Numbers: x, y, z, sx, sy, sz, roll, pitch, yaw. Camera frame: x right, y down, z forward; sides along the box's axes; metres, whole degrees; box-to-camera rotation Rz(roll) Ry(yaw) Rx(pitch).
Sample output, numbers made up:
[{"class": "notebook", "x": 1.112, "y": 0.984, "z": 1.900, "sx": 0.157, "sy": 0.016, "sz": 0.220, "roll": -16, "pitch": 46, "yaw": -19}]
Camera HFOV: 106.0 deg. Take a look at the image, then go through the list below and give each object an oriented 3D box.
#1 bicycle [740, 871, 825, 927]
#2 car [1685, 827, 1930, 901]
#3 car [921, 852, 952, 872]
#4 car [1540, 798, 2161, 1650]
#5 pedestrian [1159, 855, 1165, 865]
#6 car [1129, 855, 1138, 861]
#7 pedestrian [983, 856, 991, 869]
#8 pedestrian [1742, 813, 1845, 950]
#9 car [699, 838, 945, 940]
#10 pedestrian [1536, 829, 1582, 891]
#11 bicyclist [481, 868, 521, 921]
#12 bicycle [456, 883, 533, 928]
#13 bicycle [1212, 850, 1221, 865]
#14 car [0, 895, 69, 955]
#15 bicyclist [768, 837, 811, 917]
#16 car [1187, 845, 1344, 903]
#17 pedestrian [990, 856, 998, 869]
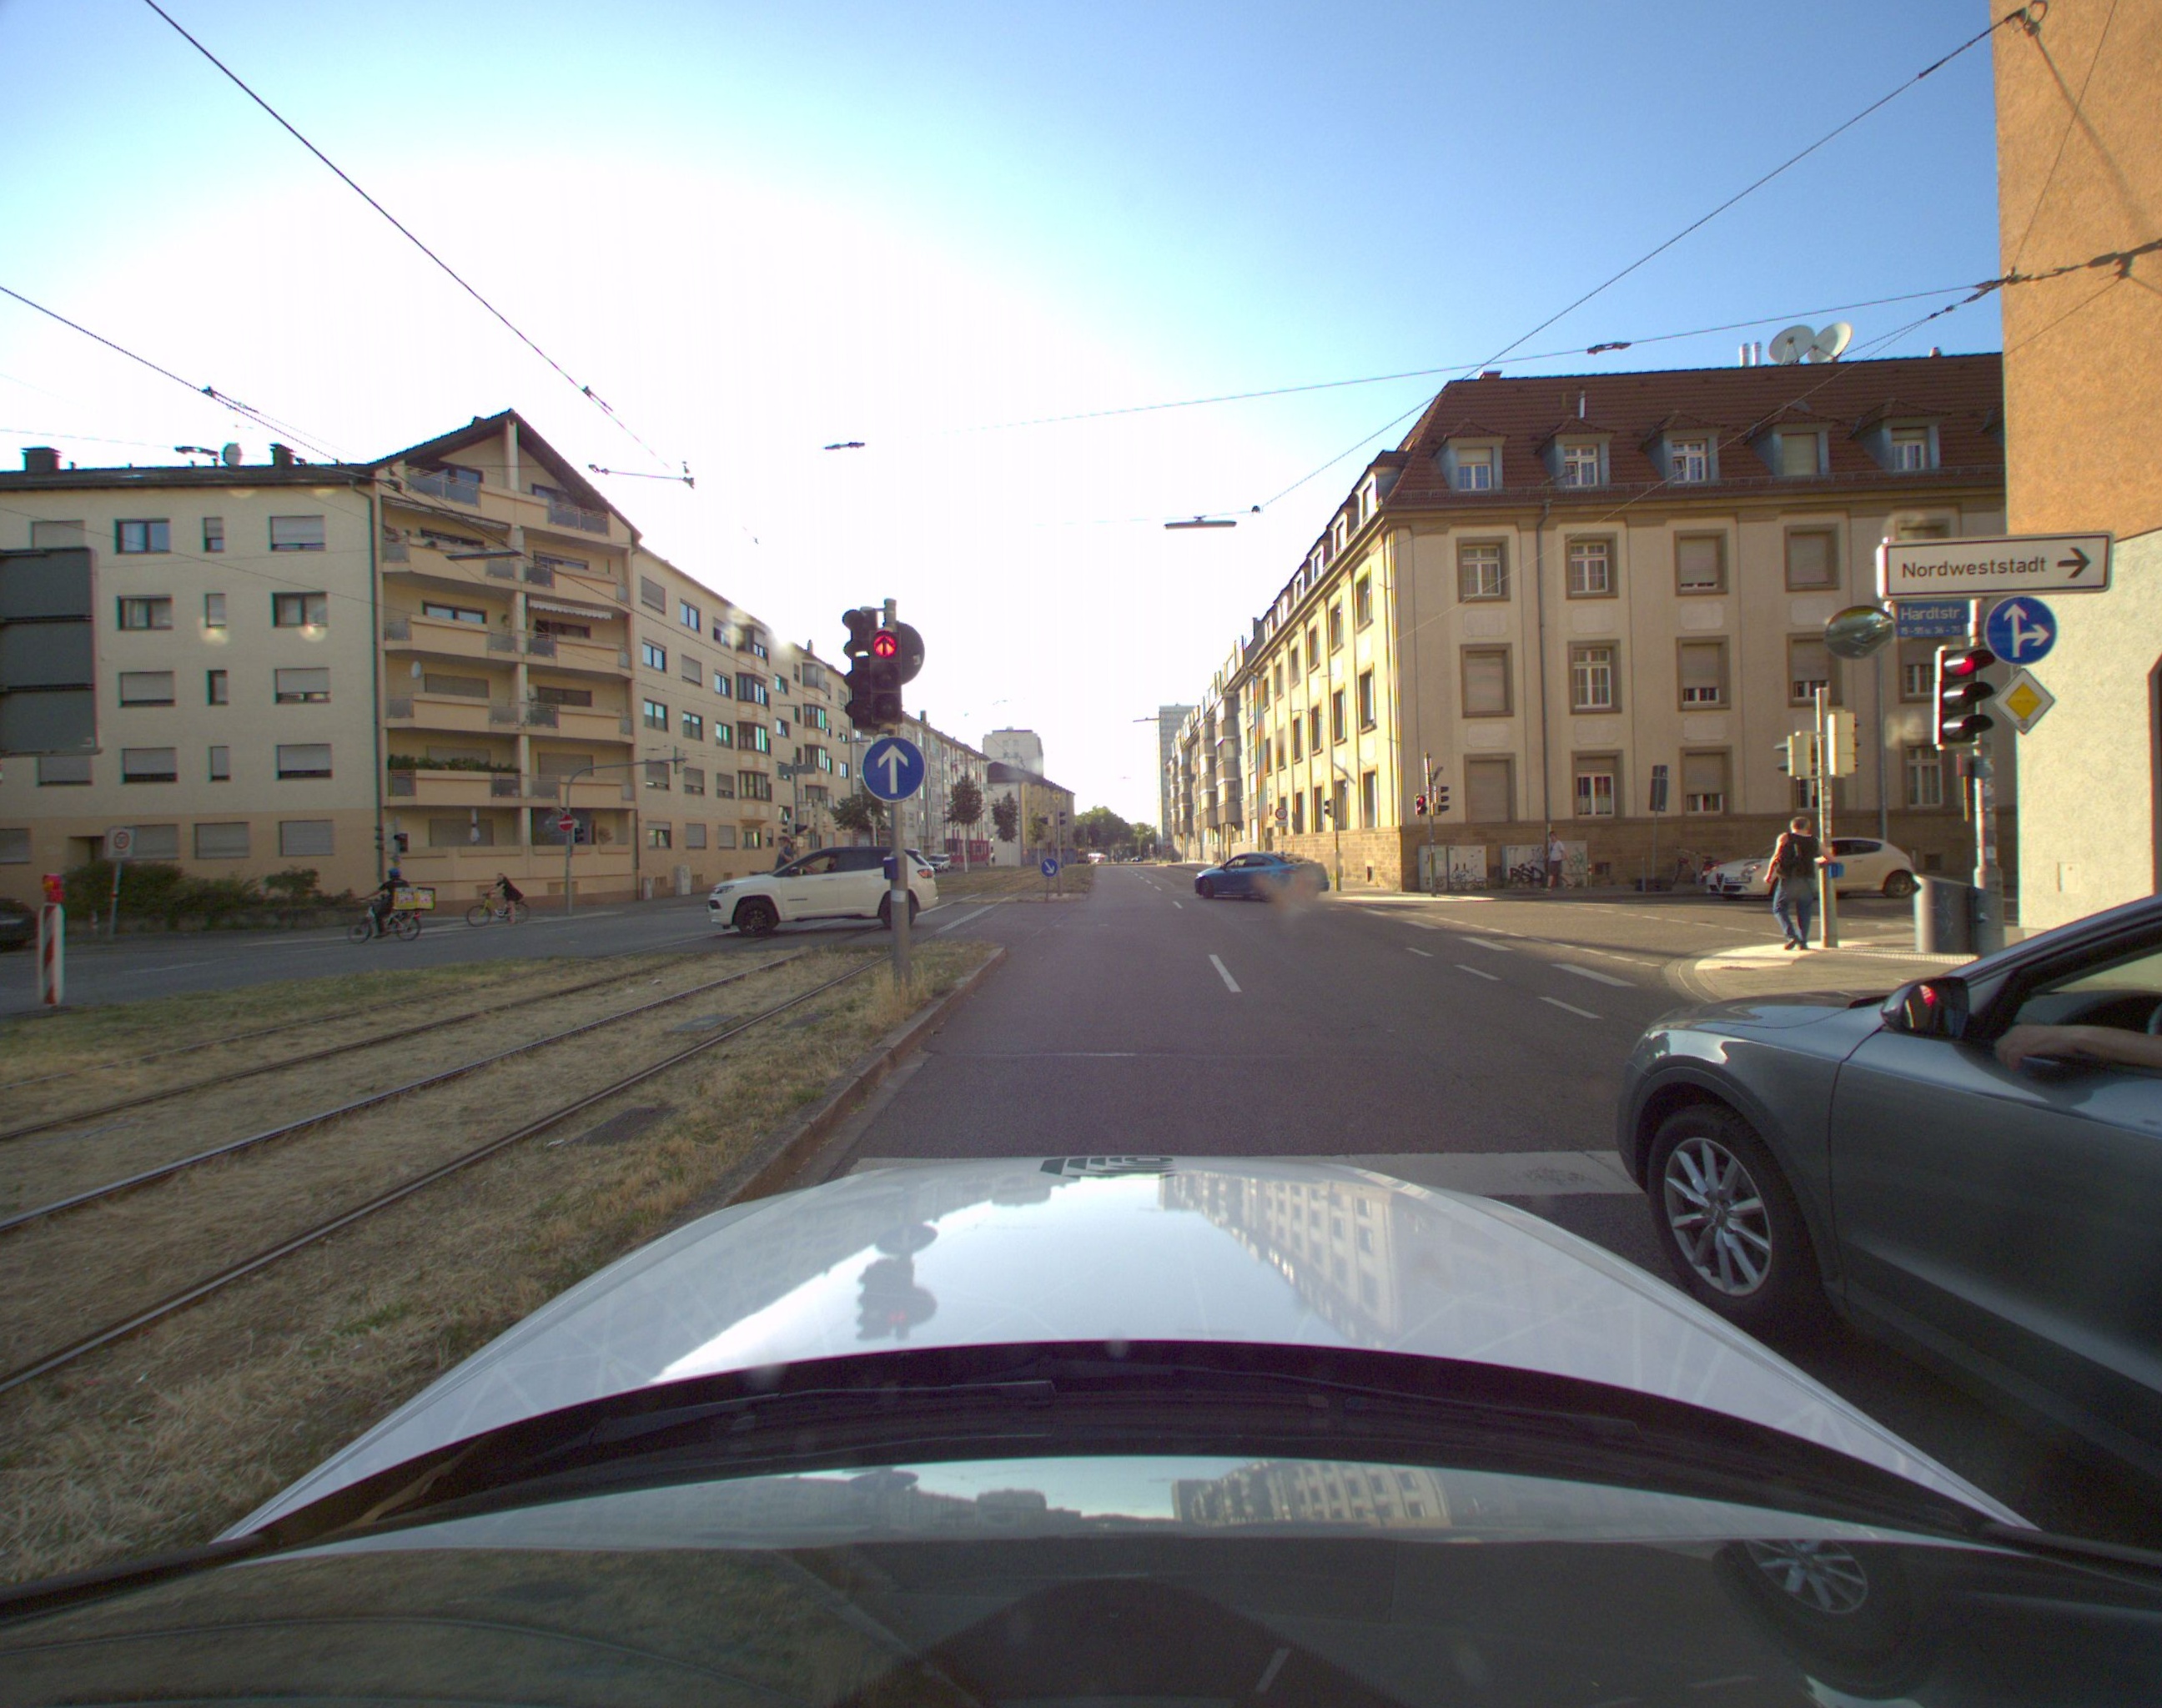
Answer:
[{"class": "bicycle", "x": -7.250, "y": 1.084, "z": 19.829, "sx": 1.864, "sy": 1.257, "sz": 0.455, "roll": -1, "pitch": 1, "yaw": -9}, {"class": "car", "x": 17.004, "y": 0.231, "z": 19.228, "sx": 3.973, "sy": 1.564, "sz": 2.000, "roll": -2, "pitch": -1, "yaw": 1}, {"class": "car", "x": -14.560, "y": 0.777, "z": 82.365, "sx": 1.984, "sy": 1.925, "sz": 4.548, "roll": 0, "pitch": -1, "yaw": 5}, {"class": "car", "x": 2.816, "y": 0.674, "z": 1.490, "sx": 1.691, "sy": 1.552, "sz": 4.227, "roll": 0, "pitch": 0, "yaw": 2}, {"class": "pedestrian", "x": 10.112, "y": 0.736, "z": 101.736, "sx": 0.688, "sy": 1.234, "sz": 0.737, "roll": 0, "pitch": -1, "yaw": 2}, {"class": "car", "x": 14.418, "y": 1.003, "z": 222.933, "sx": 1.885, "sy": 1.633, "sz": 4.761, "roll": -2, "pitch": 0, "yaw": 10}, {"class": "pedestrian", "x": -13.075, "y": 1.187, "z": 113.143, "sx": 0.957, "sy": 1.694, "sz": 1.013, "roll": -1, "pitch": -1, "yaw": 7}, {"class": "pedestrian", "x": 9.463, "y": 0.352, "z": 10.848, "sx": 0.627, "sy": 1.758, "sz": 0.826, "roll": 0, "pitch": -1, "yaw": 1}, {"class": "car", "x": -5.085, "y": 0.631, "z": 16.398, "sx": 4.389, "sy": 1.734, "sz": 1.989, "roll": -2, "pitch": 0, "yaw": -17}, {"class": "pedestrian", "x": 13.830, "y": 0.172, "z": 23.598, "sx": 0.832, "sy": 1.762, "sz": 0.824, "roll": 0, "pitch": -1, "yaw": 1}, {"class": "bicyclist", "x": -18.135, "y": 1.254, "z": 25.462, "sx": 0.620, "sy": 1.586, "sz": 0.814, "roll": -1, "pitch": 0, "yaw": 35}, {"class": "bicycle", "x": -18.211, "y": 1.581, "z": 25.325, "sx": 0.450, "sy": 1.257, "sz": 1.883, "roll": -1, "pitch": 1, "yaw": 34}, {"class": "bicycle", "x": 10.307, "y": 0.265, "z": 61.891, "sx": 0.382, "sy": 1.096, "sz": 1.503, "roll": -2, "pitch": -1, "yaw": 0}, {"class": "car", "x": -30.192, "y": 1.969, "z": 21.508, "sx": 3.983, "sy": 1.442, "sz": 1.996, "roll": -2, "pitch": 2, "yaw": -7}, {"class": "bicyclist", "x": -7.112, "y": 0.541, "z": 19.892, "sx": 0.806, "sy": 1.882, "sz": 0.651, "roll": -2, "pitch": 2, "yaw": -10}, {"class": "car", "x": 5.373, "y": 0.549, "z": 24.243, "sx": 2.008, "sy": 1.554, "sz": 4.346, "roll": 0, "pitch": -1, "yaw": -35}, {"class": "pedestrian", "x": -12.177, "y": 1.184, "z": 113.660, "sx": 0.957, "sy": 1.670, "sz": 1.013, "roll": -1, "pitch": -1, "yaw": 7}]
